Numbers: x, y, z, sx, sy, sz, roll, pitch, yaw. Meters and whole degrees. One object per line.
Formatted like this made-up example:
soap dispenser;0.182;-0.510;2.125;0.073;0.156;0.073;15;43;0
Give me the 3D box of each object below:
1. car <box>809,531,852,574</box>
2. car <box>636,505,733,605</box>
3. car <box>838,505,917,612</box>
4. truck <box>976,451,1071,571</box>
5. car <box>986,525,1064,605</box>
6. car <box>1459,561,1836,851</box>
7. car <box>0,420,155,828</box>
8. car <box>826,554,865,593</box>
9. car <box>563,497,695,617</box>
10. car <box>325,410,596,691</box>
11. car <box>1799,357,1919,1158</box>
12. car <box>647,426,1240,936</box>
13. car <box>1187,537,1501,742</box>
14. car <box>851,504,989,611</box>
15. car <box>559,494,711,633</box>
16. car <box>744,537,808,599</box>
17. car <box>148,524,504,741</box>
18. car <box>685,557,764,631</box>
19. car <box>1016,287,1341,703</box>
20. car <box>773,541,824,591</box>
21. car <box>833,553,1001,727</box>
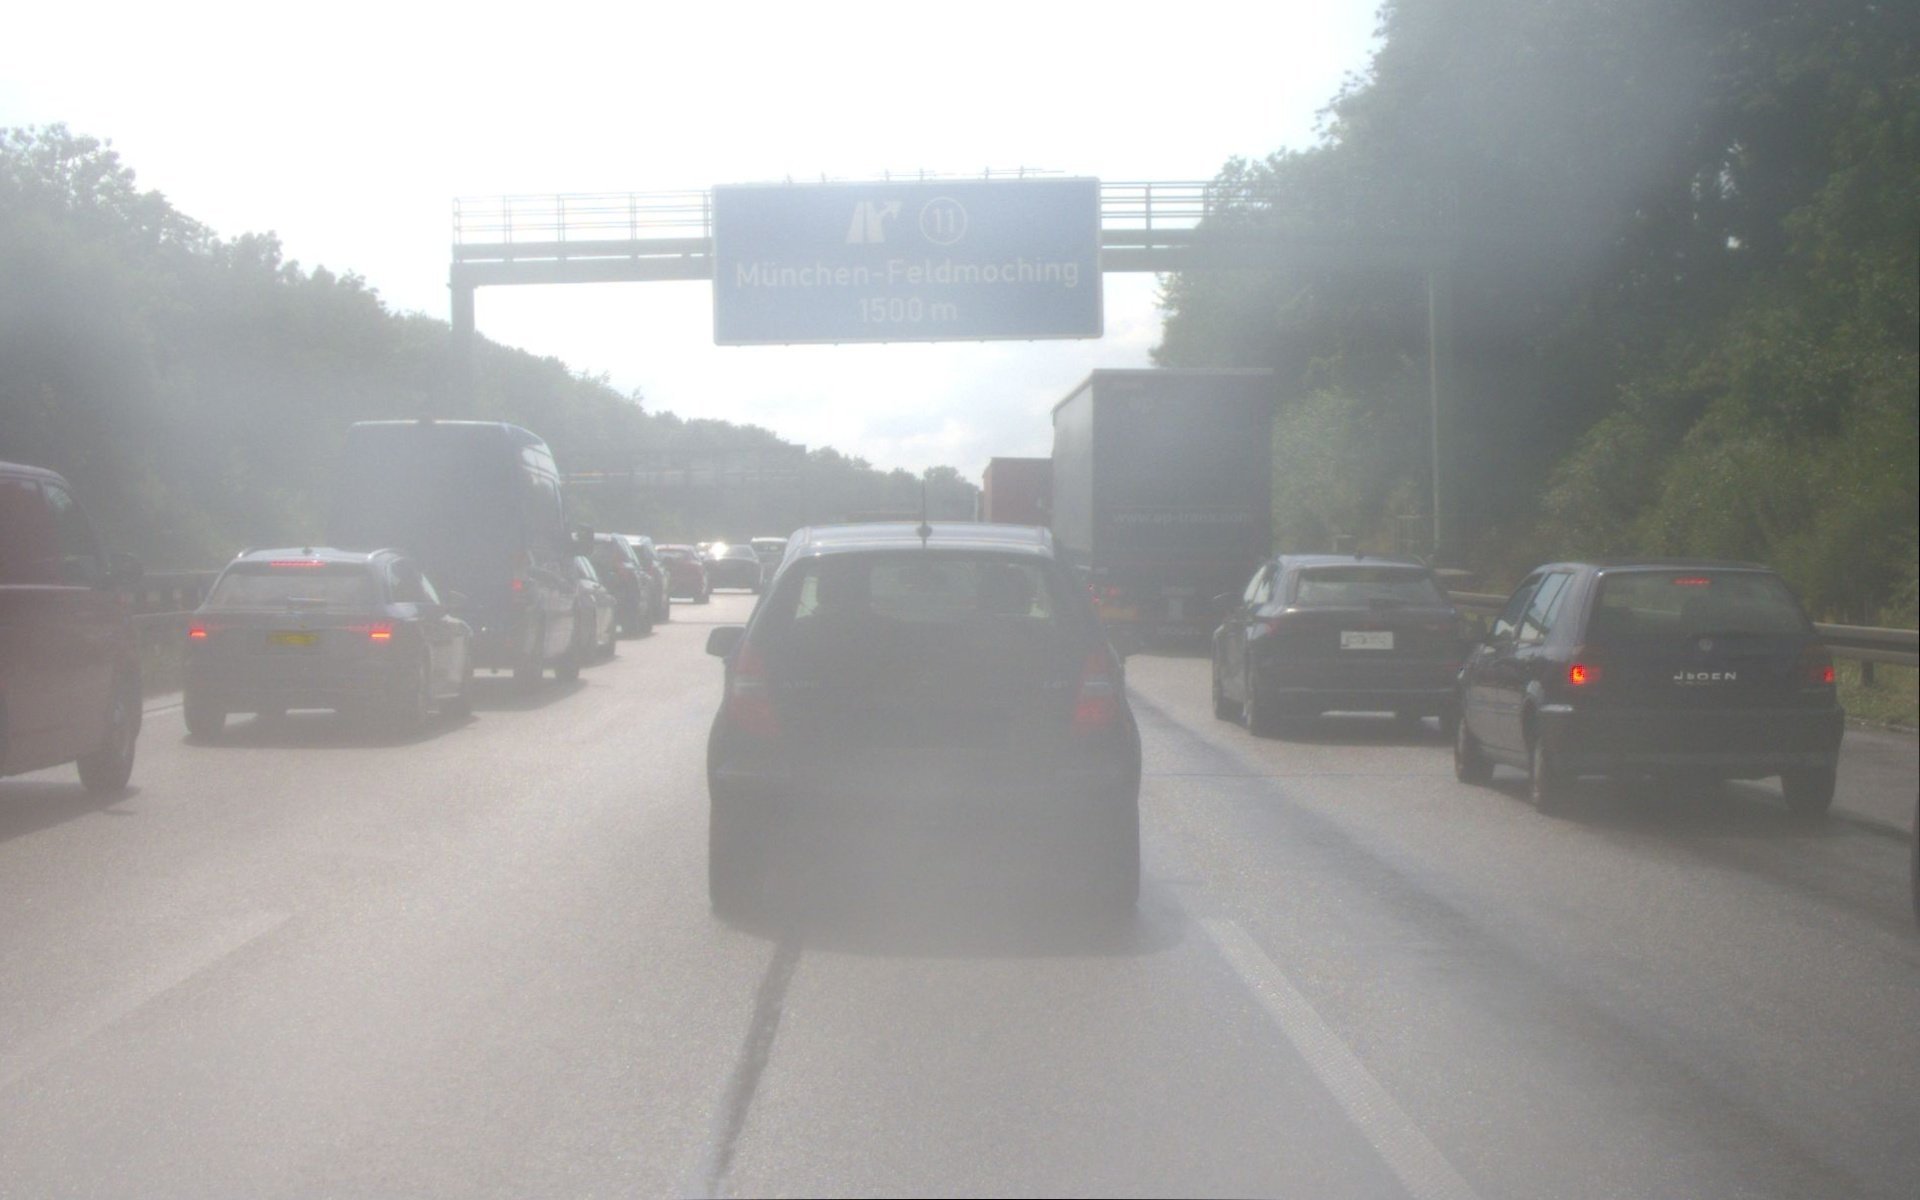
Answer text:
car;-6.400;-2.353;170.473;1.993;2.108;4.889;1;1;0
car;-6.778;-1.100;84.993;1.993;2.377;5.260;1;1;0
car;-2.157;-1.102;91.153;1.993;2.737;5.260;1;1;0
truck;1.939;-2.749;107.890;2.775;3.619;5.917;1;1;0
car;1.748;-0.956;94.204;1.993;2.108;4.889;1;1;0
car;3.923;0.543;20.184;1.591;1.511;3.976;1;1;3
car;-5.839;0.098;18.508;1.978;2.047;4.757;1;1;-1
car;-6.275;-1.472;188.810;1.993;2.108;4.889;1;1;0
car;-6.079;-0.795;63.665;1.993;2.108;4.889;1;1;0
car;-4.972;-0.492;34.946;1.993;2.606;5.260;1;1;0
car;3.318;0.405;6.445;1.941;1.912;5.652;1;1;-2
car;-0.164;0.291;15.723;2.274;1.948;4.822;1;1;-2
car;3.005;0.276;27.727;1.864;1.511;3.976;1;1;-3
car;-0.636;-0.625;51.245;1.864;1.511;3.976;1;1;-3
car;-5.185;-0.581;55.345;1.993;2.108;4.889;1;1;0
car;-6.479;-1.139;121.328;1.993;2.108;4.889;1;1;0
car;-4.951;0.214;27.526;1.993;1.559;4.756;1;1;0
car;-6.885;-0.201;100.792;1.993;2.108;4.889;1;1;0
car;3.222;-1.561;56.901;4.404;5.810;16.818;1;1;1
car;-6.920;-1.465;147.868;1.993;2.108;4.889;1;1;0
car;-0.524;0.398;38.059;1.692;1.798;3.976;1;1;-3
